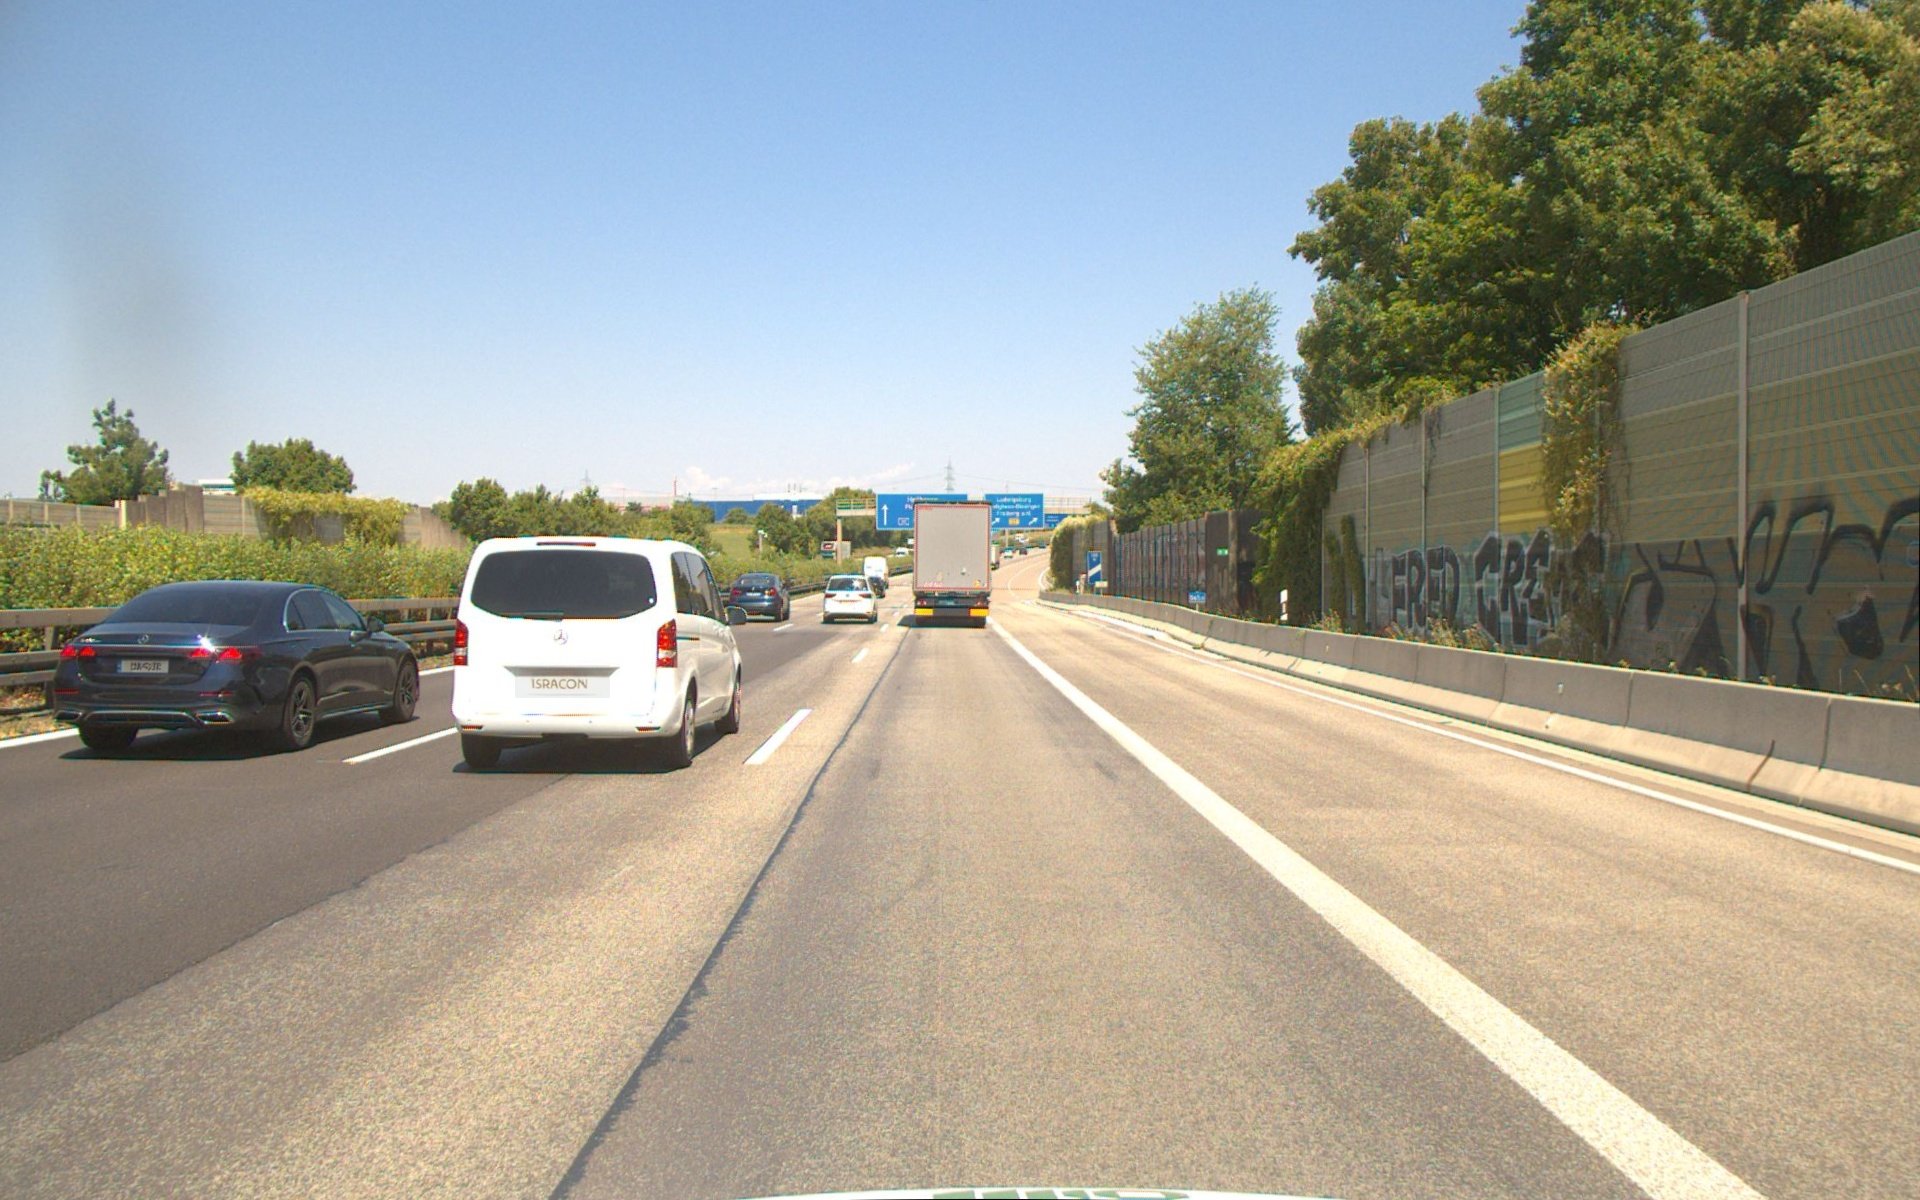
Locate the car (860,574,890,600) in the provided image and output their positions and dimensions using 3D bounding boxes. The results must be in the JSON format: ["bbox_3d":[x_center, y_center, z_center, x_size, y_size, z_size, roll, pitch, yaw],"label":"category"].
[{"bbox_3d":[-5.756,-0.877,113.039,1.866,1.718,4.630,1,0,-1],"label":"car"}]

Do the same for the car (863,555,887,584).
[{"bbox_3d":[-7.578,-2.717,147.314,1.953,2.415,3.999,1,0,-1],"label":"car"}]

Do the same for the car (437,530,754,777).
[{"bbox_3d":[-3.094,0.393,15.056,1.891,1.884,4.691,1,0,-1],"label":"car"}]

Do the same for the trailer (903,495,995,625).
[{"bbox_3d":[-0.445,-1.325,58.453,2.868,4.085,12.036,1,0,-1],"label":"trailer"}]

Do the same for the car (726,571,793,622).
[{"bbox_3d":[-7.041,-0.145,58.603,1.866,1.718,4.630,1,0,-1],"label":"car"}]

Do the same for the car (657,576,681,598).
[{"bbox_3d":[-28.258,-1.271,160.852,1.637,2.049,3.999,1,0,-1],"label":"car"}]

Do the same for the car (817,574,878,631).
[{"bbox_3d":[-3.870,0.062,57.666,1.866,1.884,4.630,1,0,-1],"label":"car"}]

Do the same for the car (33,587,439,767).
[{"bbox_3d":[-6.626,0.602,15.846,1.721,1.433,5.039,1,0,-1],"label":"car"}]
